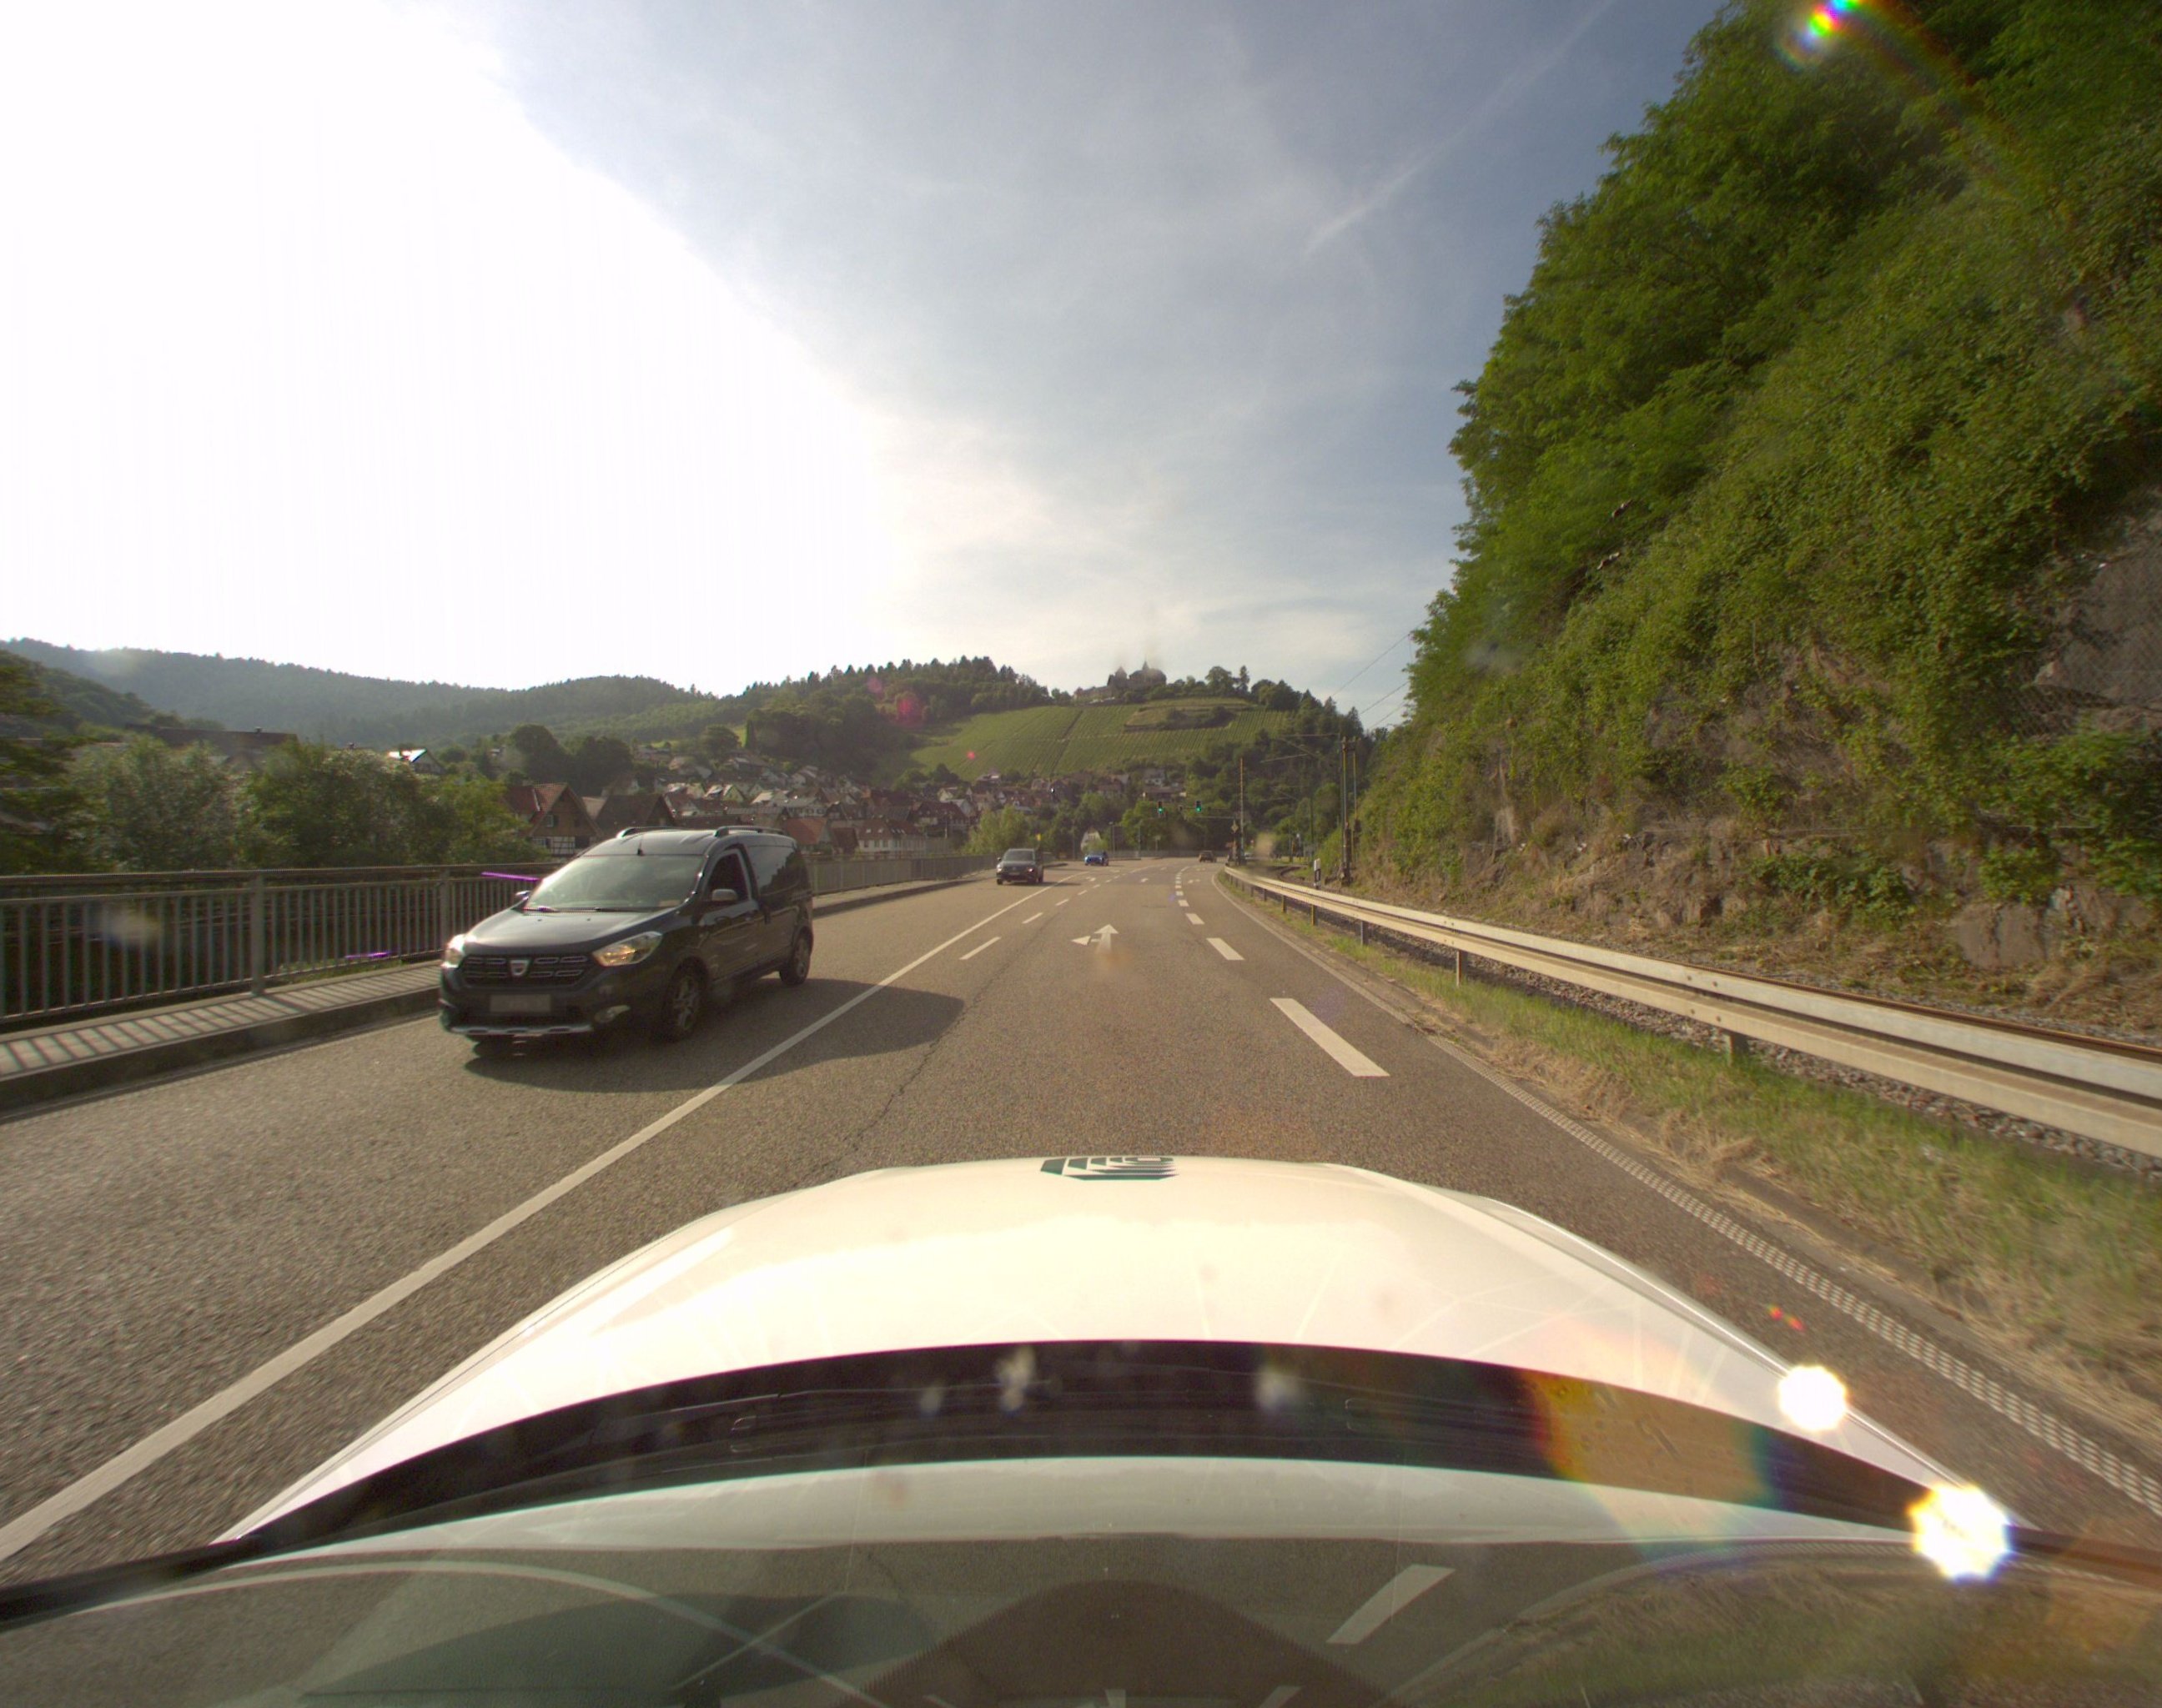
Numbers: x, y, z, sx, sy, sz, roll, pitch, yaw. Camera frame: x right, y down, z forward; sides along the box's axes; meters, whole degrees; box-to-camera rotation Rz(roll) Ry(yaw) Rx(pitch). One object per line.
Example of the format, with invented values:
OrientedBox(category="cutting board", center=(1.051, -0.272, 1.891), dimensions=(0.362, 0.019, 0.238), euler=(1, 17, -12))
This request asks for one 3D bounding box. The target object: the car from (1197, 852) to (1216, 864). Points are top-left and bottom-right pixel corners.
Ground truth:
OrientedBox(category="car", center=(16.230, 0.511, 104.987), dimensions=(1.714, 1.457, 3.427), euler=(-2, -1, 20))

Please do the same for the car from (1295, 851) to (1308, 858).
OrientedBox(category="car", center=(47.756, 0.132, 176.370), dimensions=(1.791, 1.408, 3.796), euler=(-2, -1, 29))

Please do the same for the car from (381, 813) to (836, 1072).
OrientedBox(category="car", center=(-4.119, 0.626, 8.268), dimensions=(1.786, 1.828, 4.827), euler=(-1, 0, 0))

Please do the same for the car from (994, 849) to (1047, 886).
OrientedBox(category="car", center=(-2.791, 0.590, 38.696), dimensions=(1.808, 1.646, 4.618), euler=(0, 0, 5))

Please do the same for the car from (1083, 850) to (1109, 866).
OrientedBox(category="car", center=(1.486, 0.342, 78.621), dimensions=(1.771, 1.482, 4.539), euler=(0, 0, 11))

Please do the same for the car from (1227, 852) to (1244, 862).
OrientedBox(category="car", center=(23.783, 0.456, 125.467), dimensions=(1.824, 1.459, 3.732), euler=(-2, -1, 21))

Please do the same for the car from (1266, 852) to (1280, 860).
OrientedBox(category="car", center=(36.365, 0.379, 154.125), dimensions=(1.790, 1.453, 3.668), euler=(-2, -1, 25))

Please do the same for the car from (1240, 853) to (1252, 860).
OrientedBox(category="car", center=(33.952, 0.478, 167.467), dimensions=(1.631, 1.231, 4.116), euler=(1, 1, 23))
